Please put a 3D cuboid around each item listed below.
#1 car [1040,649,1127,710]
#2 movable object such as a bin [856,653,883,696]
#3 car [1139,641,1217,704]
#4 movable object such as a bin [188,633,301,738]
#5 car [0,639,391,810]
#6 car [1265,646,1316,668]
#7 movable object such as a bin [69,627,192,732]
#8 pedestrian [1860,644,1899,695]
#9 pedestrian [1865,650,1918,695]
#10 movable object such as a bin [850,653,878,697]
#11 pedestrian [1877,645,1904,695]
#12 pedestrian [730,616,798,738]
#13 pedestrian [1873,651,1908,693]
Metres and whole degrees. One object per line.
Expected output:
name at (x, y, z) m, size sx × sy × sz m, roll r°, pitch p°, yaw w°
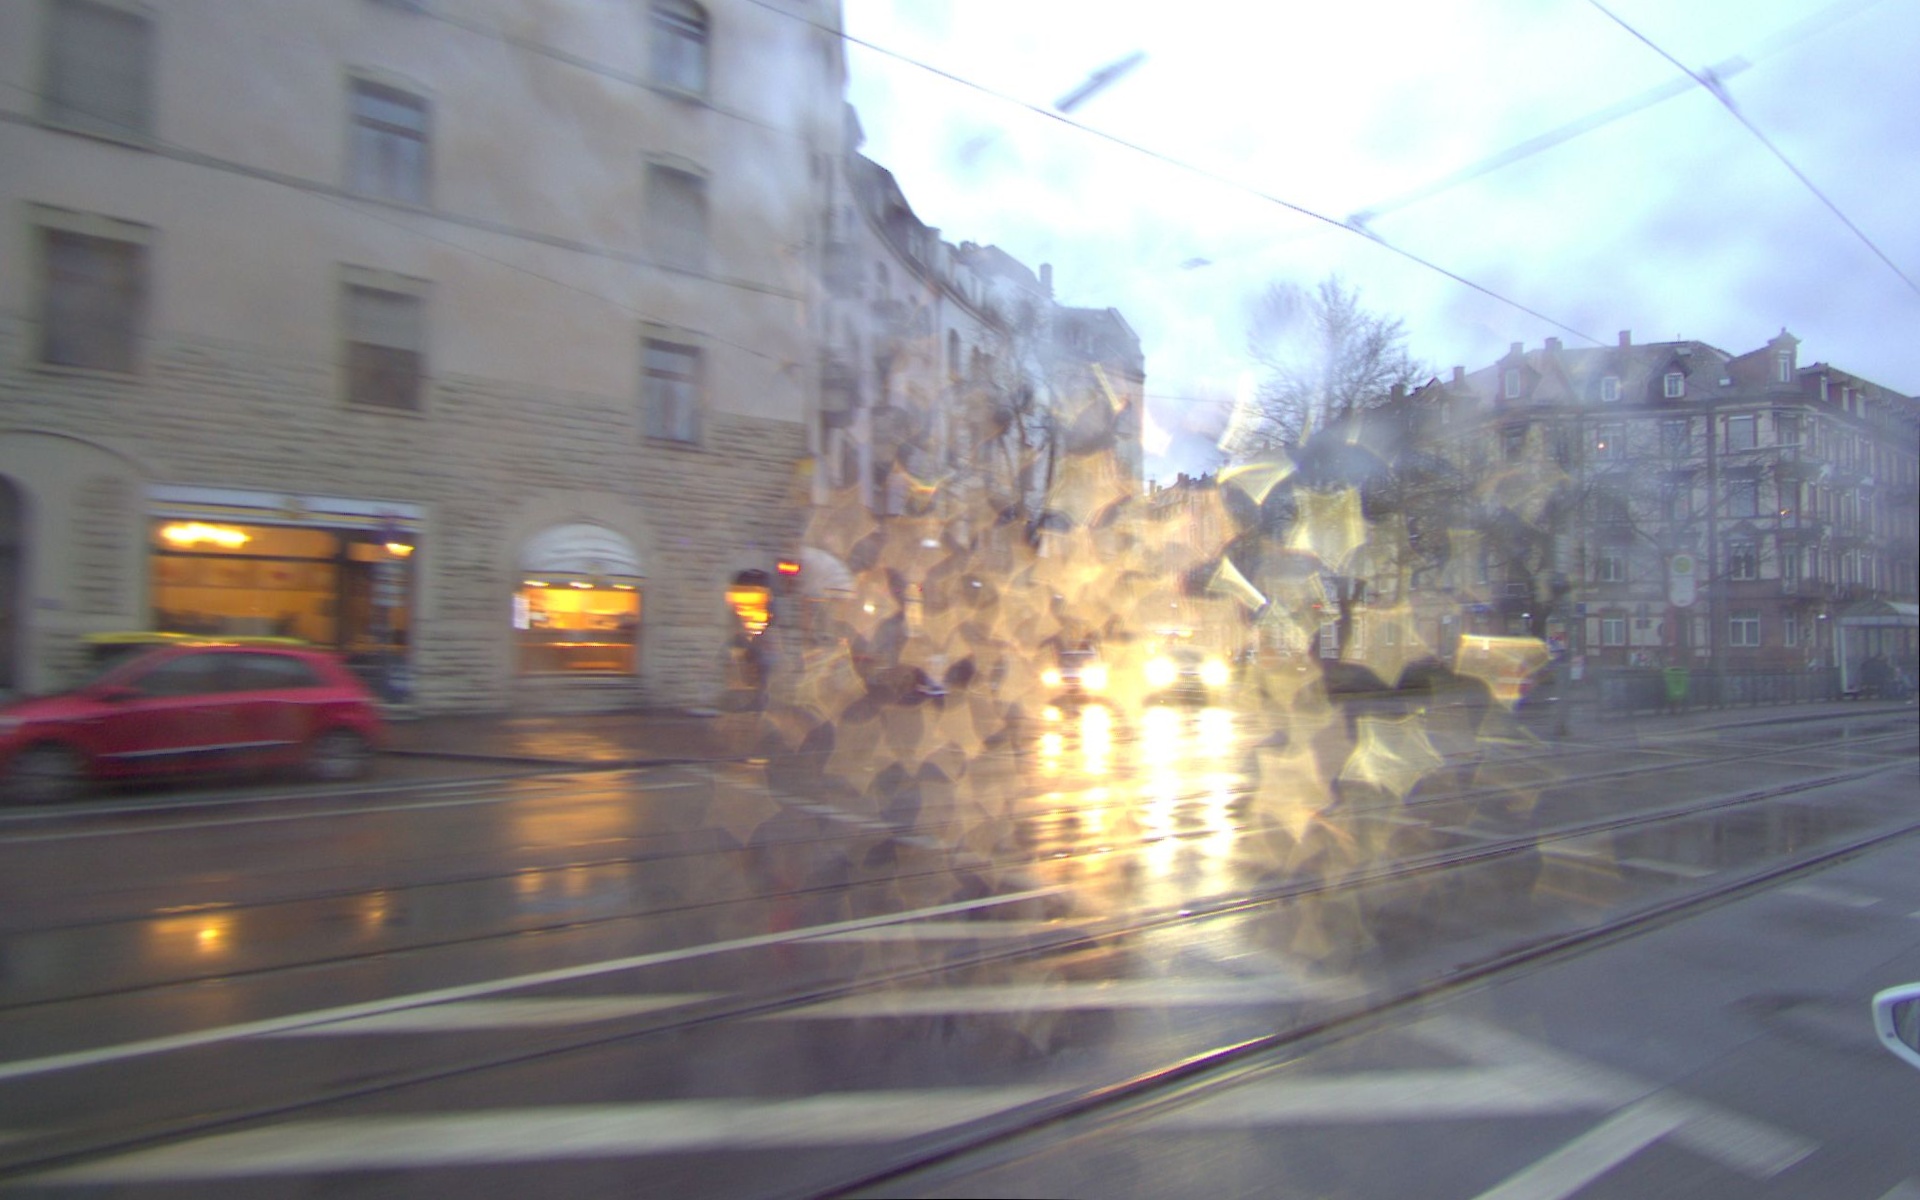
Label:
car at (3.726, 2.306, 29.808) m, size 1.582 × 1.492 × 3.825 m, roll 2°, pitch 0°, yaw 22°
movable object such as a bin at (-2.519, 2.069, 27.962) m, size 0.640 × 1.150 × 0.649 m, roll 0°, pitch -2°, yaw 2°
car at (6.537, 2.073, 29.786) m, size 1.898 × 1.604 × 4.345 m, roll 2°, pitch -1°, yaw 17°
movable object such as a bin at (-10.509, 1.224, 14.796) m, size 1.269 × 1.390 × 1.340 m, roll 2°, pitch 0°, yaw -36°
car at (-8.538, 1.248, 11.101) m, size 3.650 × 1.536 × 1.657 m, roll 2°, pitch 0°, yaw -41°
car at (25.737, 4.431, 78.373) m, size 1.966 × 1.728 × 3.989 m, roll 1°, pitch -3°, yaw -15°
movable object such as a bin at (-11.940, 1.122, 14.513) m, size 1.262 × 1.390 × 0.994 m, roll 2°, pitch 0°, yaw -36°
pedestrian at (26.802, 2.024, 29.283) m, size 0.572 × 1.422 × 0.679 m, roll 2°, pitch 0°, yaw -34°
pedestrian at (28.070, 2.165, 30.276) m, size 0.501 × 1.271 × 1.049 m, roll 2°, pitch 0°, yaw -34°
movable object such as a bin at (-2.597, 2.029, 27.243) m, size 0.678 × 1.150 × 0.649 m, roll 0°, pitch -2°, yaw 2°
pedestrian at (27.290, 2.044, 29.465) m, size 0.449 × 1.422 × 0.470 m, roll 2°, pitch 0°, yaw -35°
pedestrian at (-3.193, 1.234, 16.434) m, size 0.877 × 1.903 × 0.798 m, roll 2°, pitch 0°, yaw 2°
pedestrian at (28.432, 2.201, 30.689) m, size 0.512 × 1.234 × 0.648 m, roll 2°, pitch 0°, yaw -34°
